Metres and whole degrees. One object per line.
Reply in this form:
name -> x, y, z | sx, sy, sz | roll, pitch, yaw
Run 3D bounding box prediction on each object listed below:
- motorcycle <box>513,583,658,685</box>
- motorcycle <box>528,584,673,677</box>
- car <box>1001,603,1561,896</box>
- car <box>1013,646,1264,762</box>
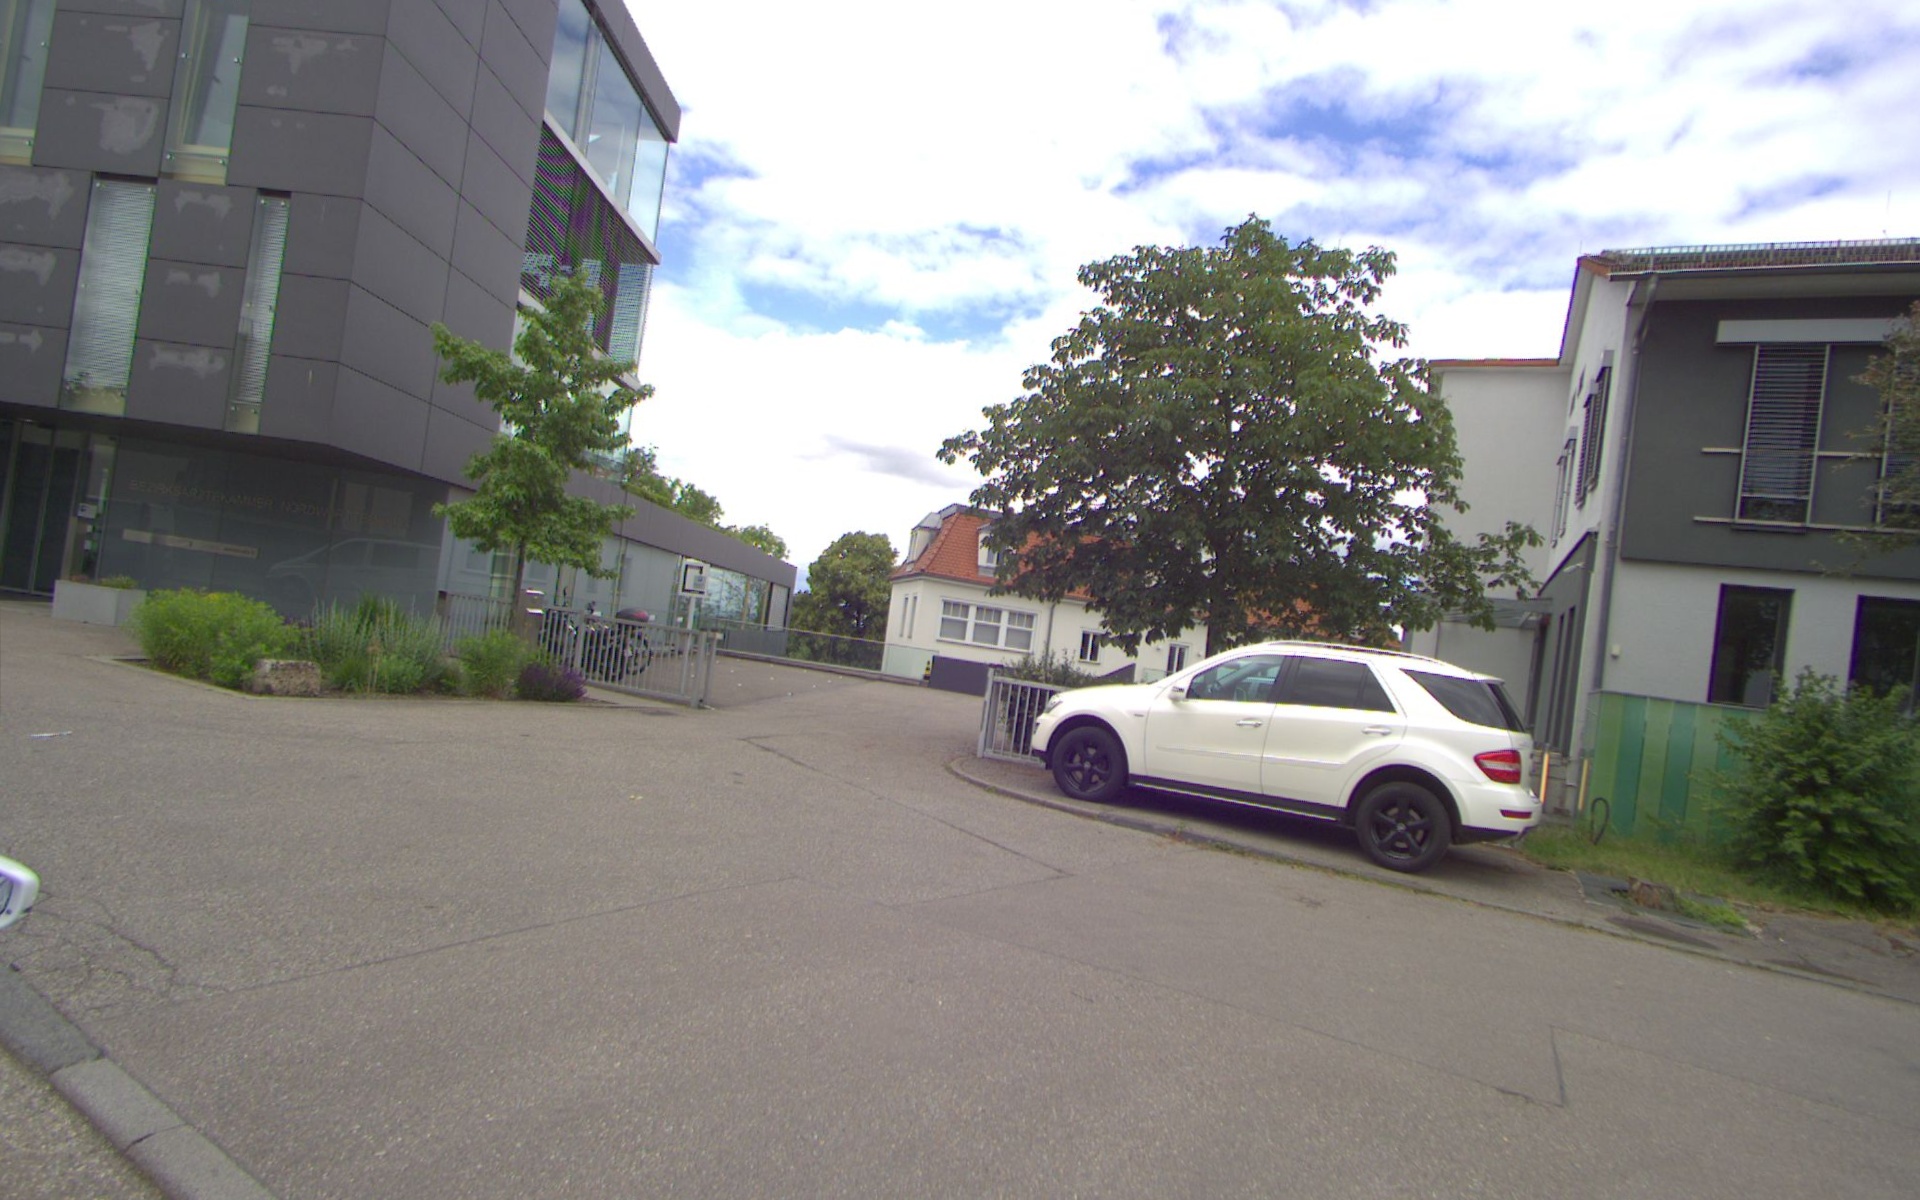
motorcycle -> -6.218, 0.564, 16.742 | 2.084, 1.409, 0.671 | 7, -1, 13
motorcycle -> -6.713, 0.567, 18.786 | 2.416, 1.409, 0.671 | 7, -1, 13
car -> 2.953, 1.231, 9.647 | 4.643, 1.778, 1.856 | 7, -2, 31
car -> 3.260, 1.852, 18.444 | 4.142, 1.501, 1.621 | 5, -2, 25
